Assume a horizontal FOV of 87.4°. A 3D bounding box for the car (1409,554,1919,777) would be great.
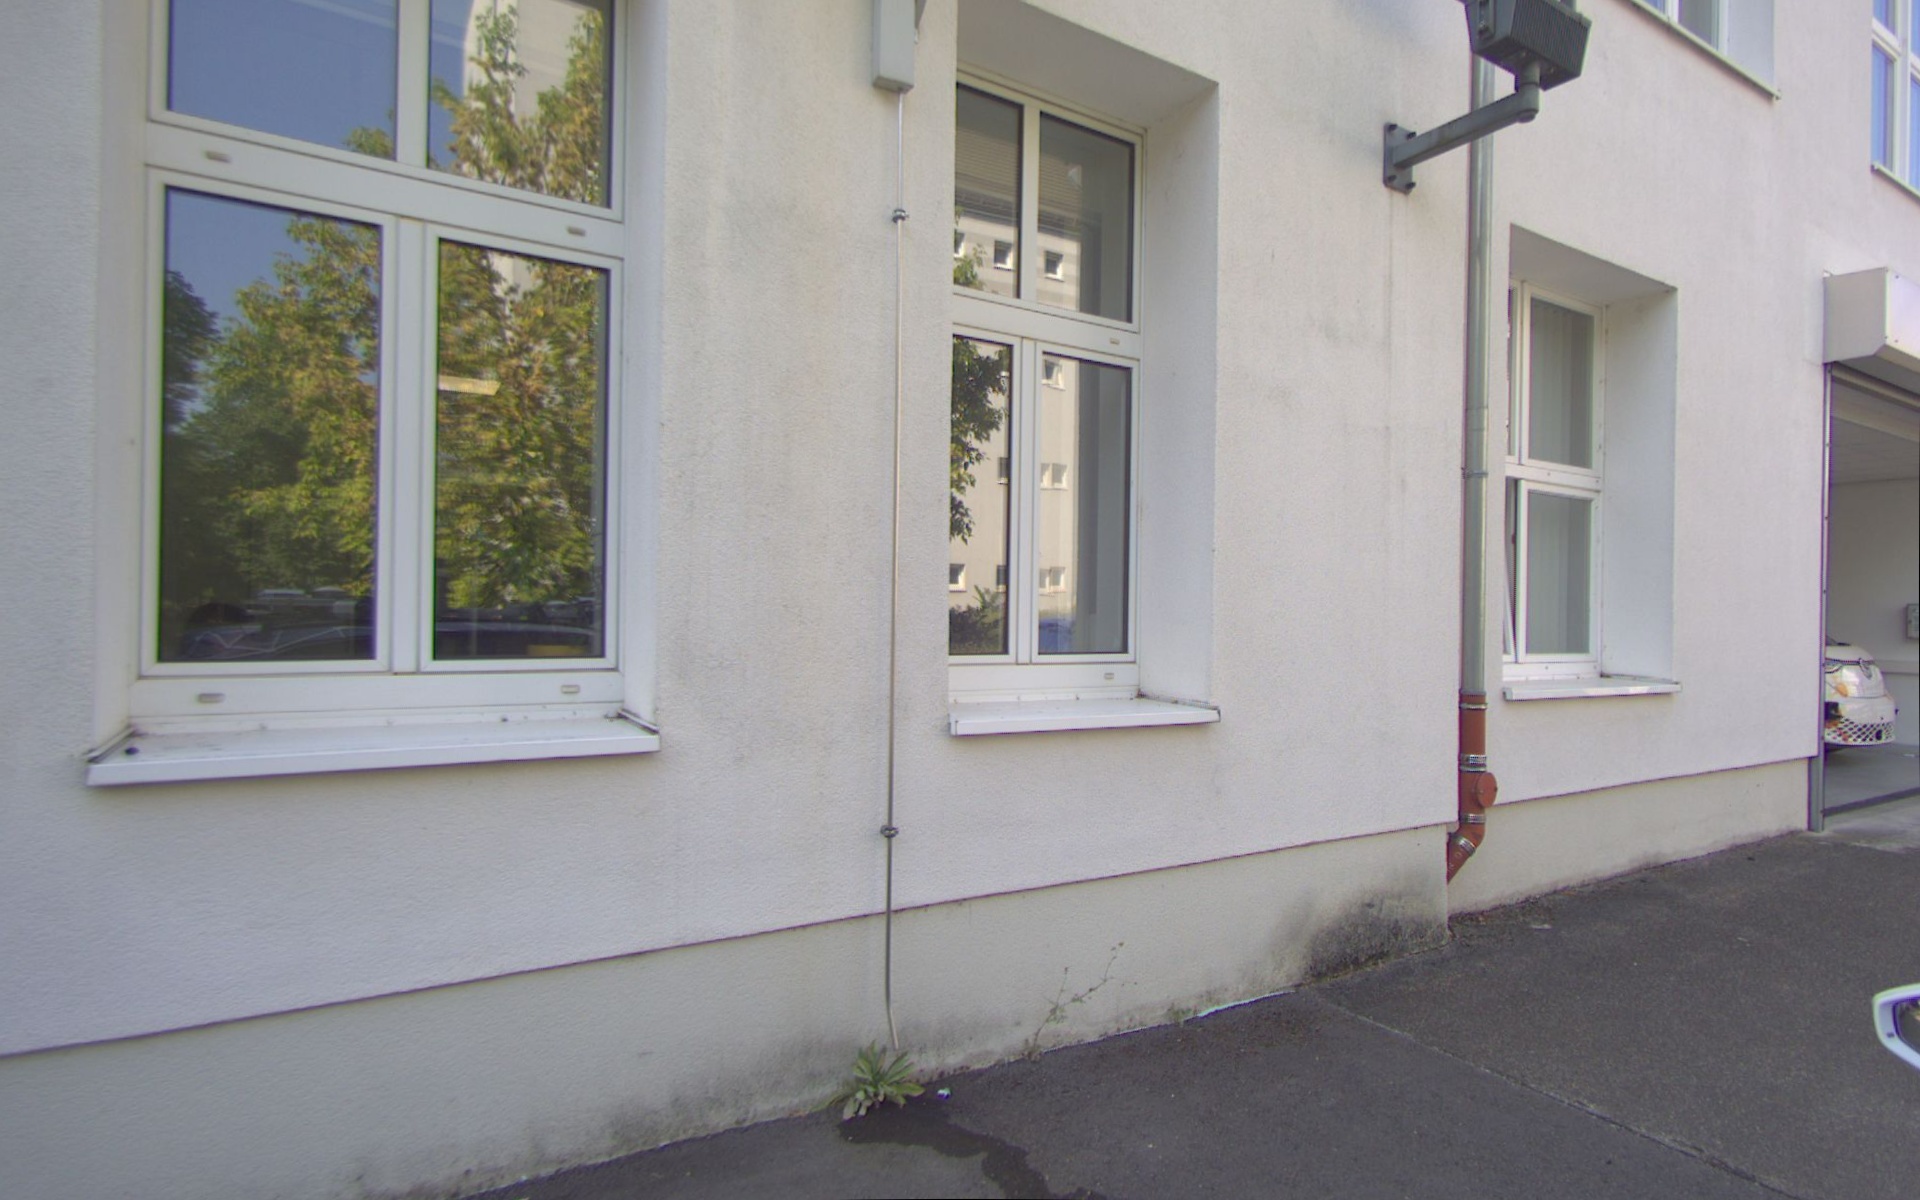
[{"bbox_3d":[8.183,0.636,12.141,2.032,2.120,4.723,2,0,-31],"label":"car"}]
